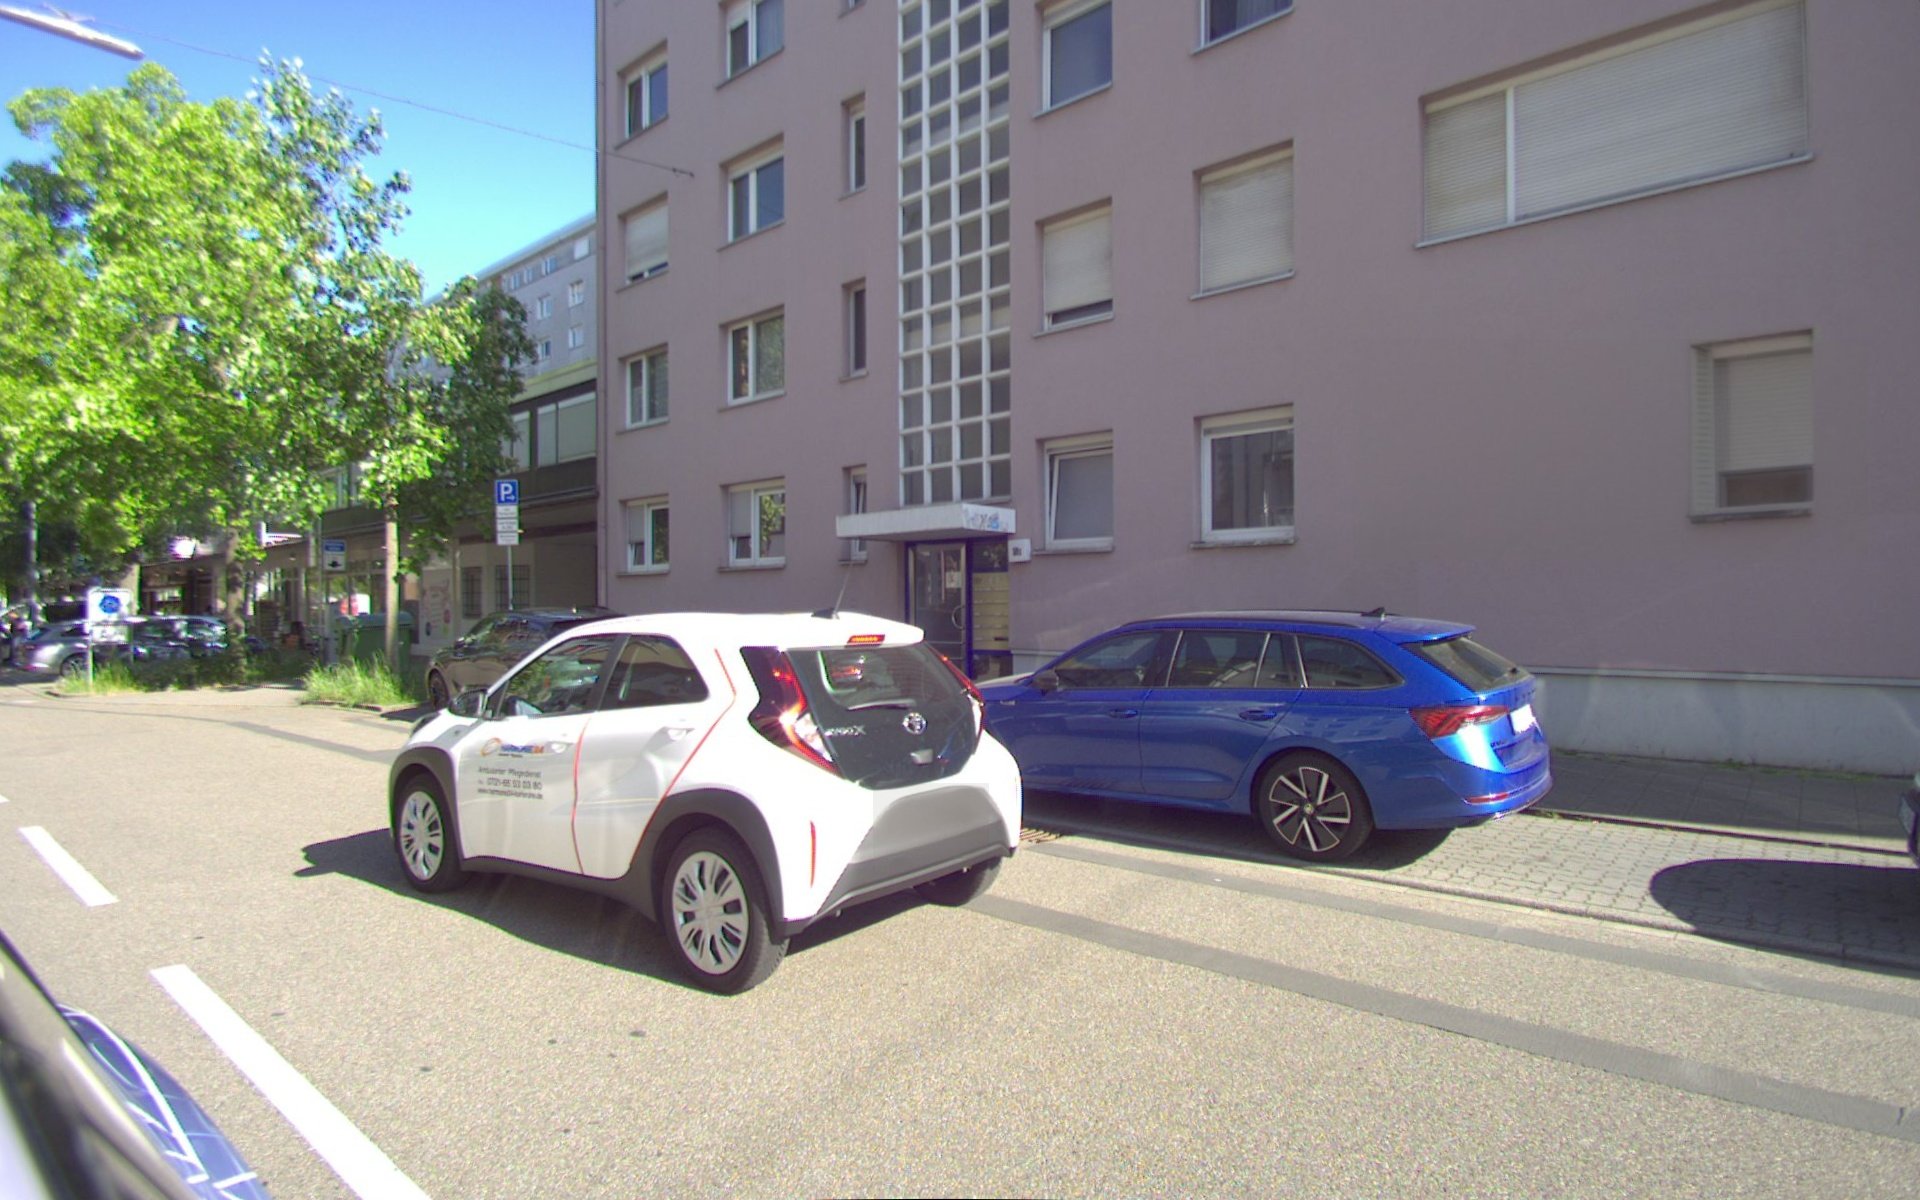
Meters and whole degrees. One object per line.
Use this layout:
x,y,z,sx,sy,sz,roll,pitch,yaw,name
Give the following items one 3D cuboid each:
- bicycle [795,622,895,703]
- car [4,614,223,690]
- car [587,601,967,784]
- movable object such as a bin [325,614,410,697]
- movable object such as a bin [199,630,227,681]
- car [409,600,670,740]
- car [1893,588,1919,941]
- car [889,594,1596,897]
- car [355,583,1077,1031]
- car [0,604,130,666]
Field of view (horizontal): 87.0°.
-1.687,0.883,14.720,1.649,1.084,0.387,-1,3,42,bicycle
-20.970,1.219,25.178,1.999,1.687,3.945,-1,-1,41,car
-2.110,0.833,10.867,4.245,1.519,1.798,-1,1,43,car
-11.575,1.055,19.782,1.230,1.557,1.019,0,-1,-44,movable object such as a bin
-18.486,1.373,25.032,0.409,1.234,0.482,-1,-1,41,movable object such as a bin
-6.052,0.884,14.340,4.141,1.604,1.798,-1,2,43,car
6.303,0.680,3.214,4.812,1.476,1.700,-1,2,41,car
1.734,0.771,7.289,4.610,1.476,1.700,-1,1,41,car
-1.463,0.743,5.365,3.780,1.548,1.749,-1,-1,38,car
-31.282,1.161,34.836,1.999,2.047,3.945,-1,-1,41,car
